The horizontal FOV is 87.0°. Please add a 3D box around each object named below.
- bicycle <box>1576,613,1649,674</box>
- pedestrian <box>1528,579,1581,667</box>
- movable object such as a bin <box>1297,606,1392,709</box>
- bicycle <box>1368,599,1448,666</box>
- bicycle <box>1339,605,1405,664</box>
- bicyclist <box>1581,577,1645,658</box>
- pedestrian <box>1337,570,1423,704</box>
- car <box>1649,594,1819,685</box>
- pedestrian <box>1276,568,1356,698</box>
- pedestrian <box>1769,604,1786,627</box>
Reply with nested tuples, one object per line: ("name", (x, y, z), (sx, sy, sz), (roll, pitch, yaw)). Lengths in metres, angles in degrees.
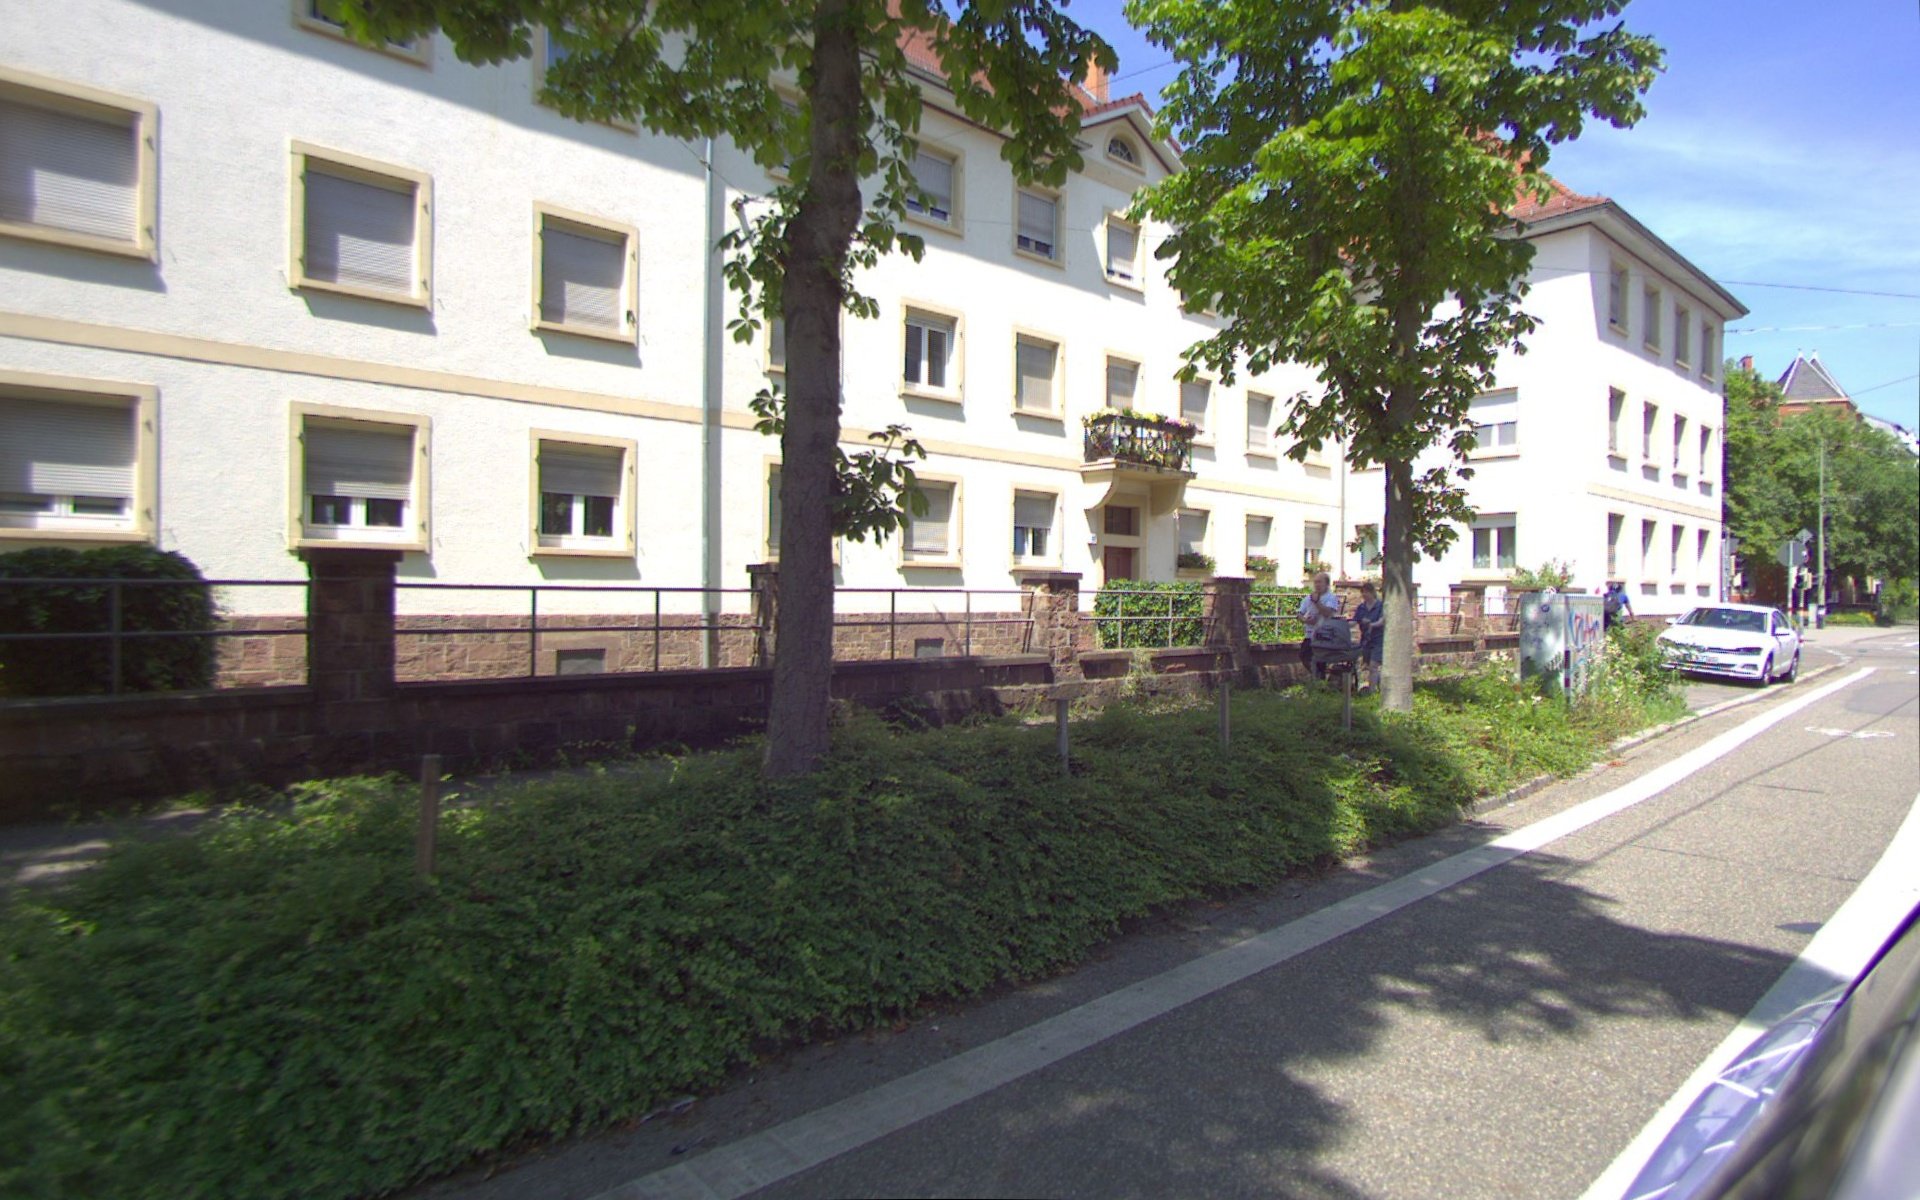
("bicycle", (12.171, 0.786, 18.873), (1.789, 1.064, 0.603), (0, 0, -39))
("pedestrian", (11.700, 0.432, 19.913), (0.743, 1.691, 0.698), (0, -1, -42))
("movable object such as a bin", (4.887, 0.705, 12.848), (1.018, 1.200, 0.698), (0, 2, -41))
("bicycle", (8.252, 0.577, 18.630), (1.721, 1.190, 0.598), (0, 0, -37))
("bicycle", (7.896, 0.633, 19.355), (0.527, 1.077, 1.835), (0, 0, 44))
("bicyclist", (12.193, 0.319, 18.900), (0.992, 1.470, 0.712), (0, 0, -38))
("pedestrian", (5.589, 0.467, 13.476), (0.854, 1.690, 0.698), (0, 2, -41))
("car", (14.898, 0.665, 19.399), (4.085, 1.427, 1.781), (0, 4, -42))
("pedestrian", (4.837, 0.425, 13.760), (0.743, 1.690, 0.699), (0, 2, -41))
("pedestrian", (43.328, 0.819, 53.648), (0.647, 1.165, 0.635), (-1, -1, 34))
